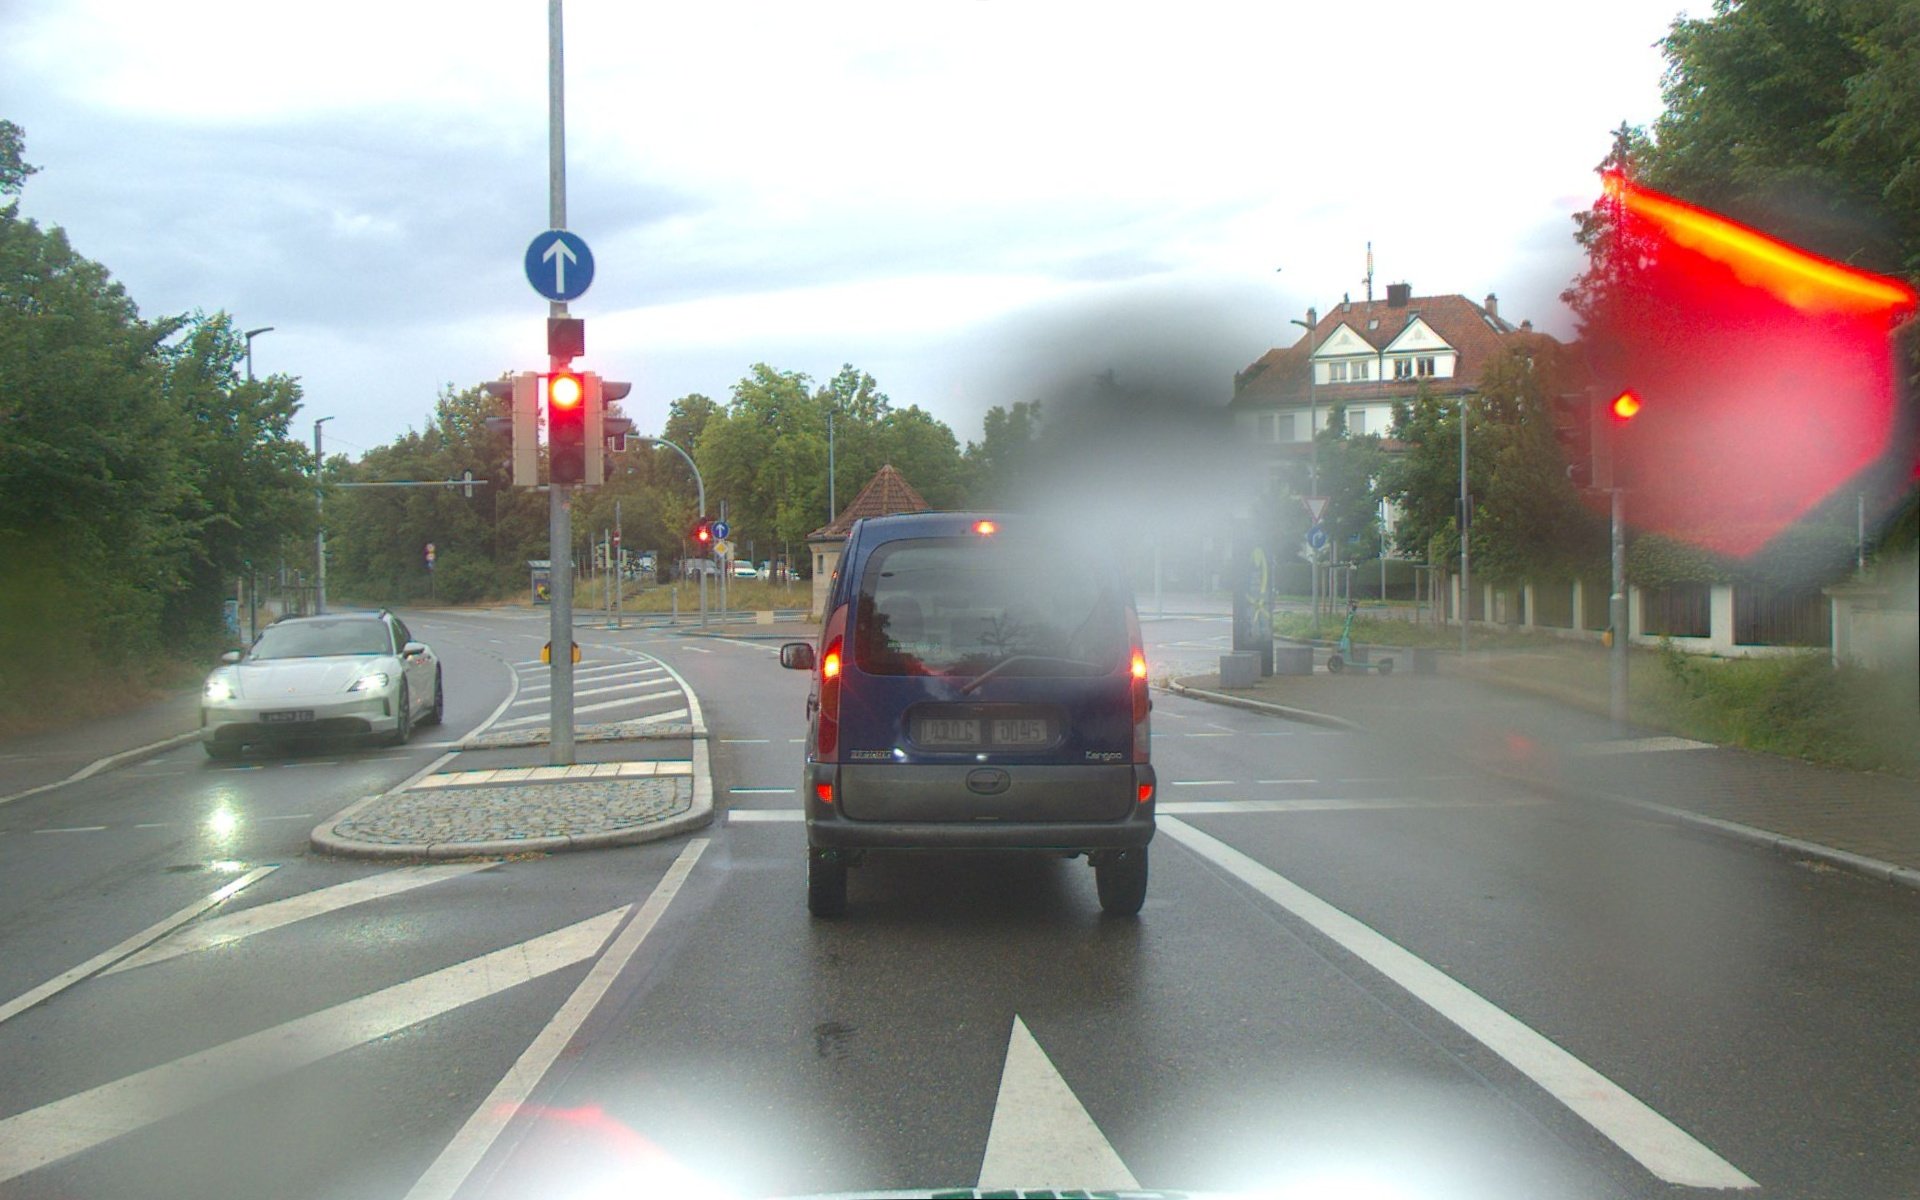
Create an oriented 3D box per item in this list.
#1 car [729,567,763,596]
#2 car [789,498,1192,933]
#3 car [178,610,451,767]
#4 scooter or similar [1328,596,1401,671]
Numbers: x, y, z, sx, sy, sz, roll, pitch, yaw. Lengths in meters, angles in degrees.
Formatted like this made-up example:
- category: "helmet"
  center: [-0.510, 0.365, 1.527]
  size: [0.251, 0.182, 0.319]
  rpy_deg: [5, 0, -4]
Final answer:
- category: "car"
  center: [-14.186, -1.220, 109.877]
  size: [1.954, 1.844, 3.996]
  rpy_deg: [0, -1, -4]
- category: "car"
  center: [0.044, 0.466, 8.963]
  size: [1.697, 1.817, 3.998]
  rpy_deg: [0, 0, -3]
- category: "car"
  center: [-6.932, 0.866, 18.256]
  size: [1.958, 1.334, 4.348]
  rpy_deg: [-3, 1, -11]
- category: "scooter or similar"
  center: [6.828, 0.564, 27.938]
  size: [1.125, 1.240, 0.405]
  rpy_deg: [-1, -1, -2]
